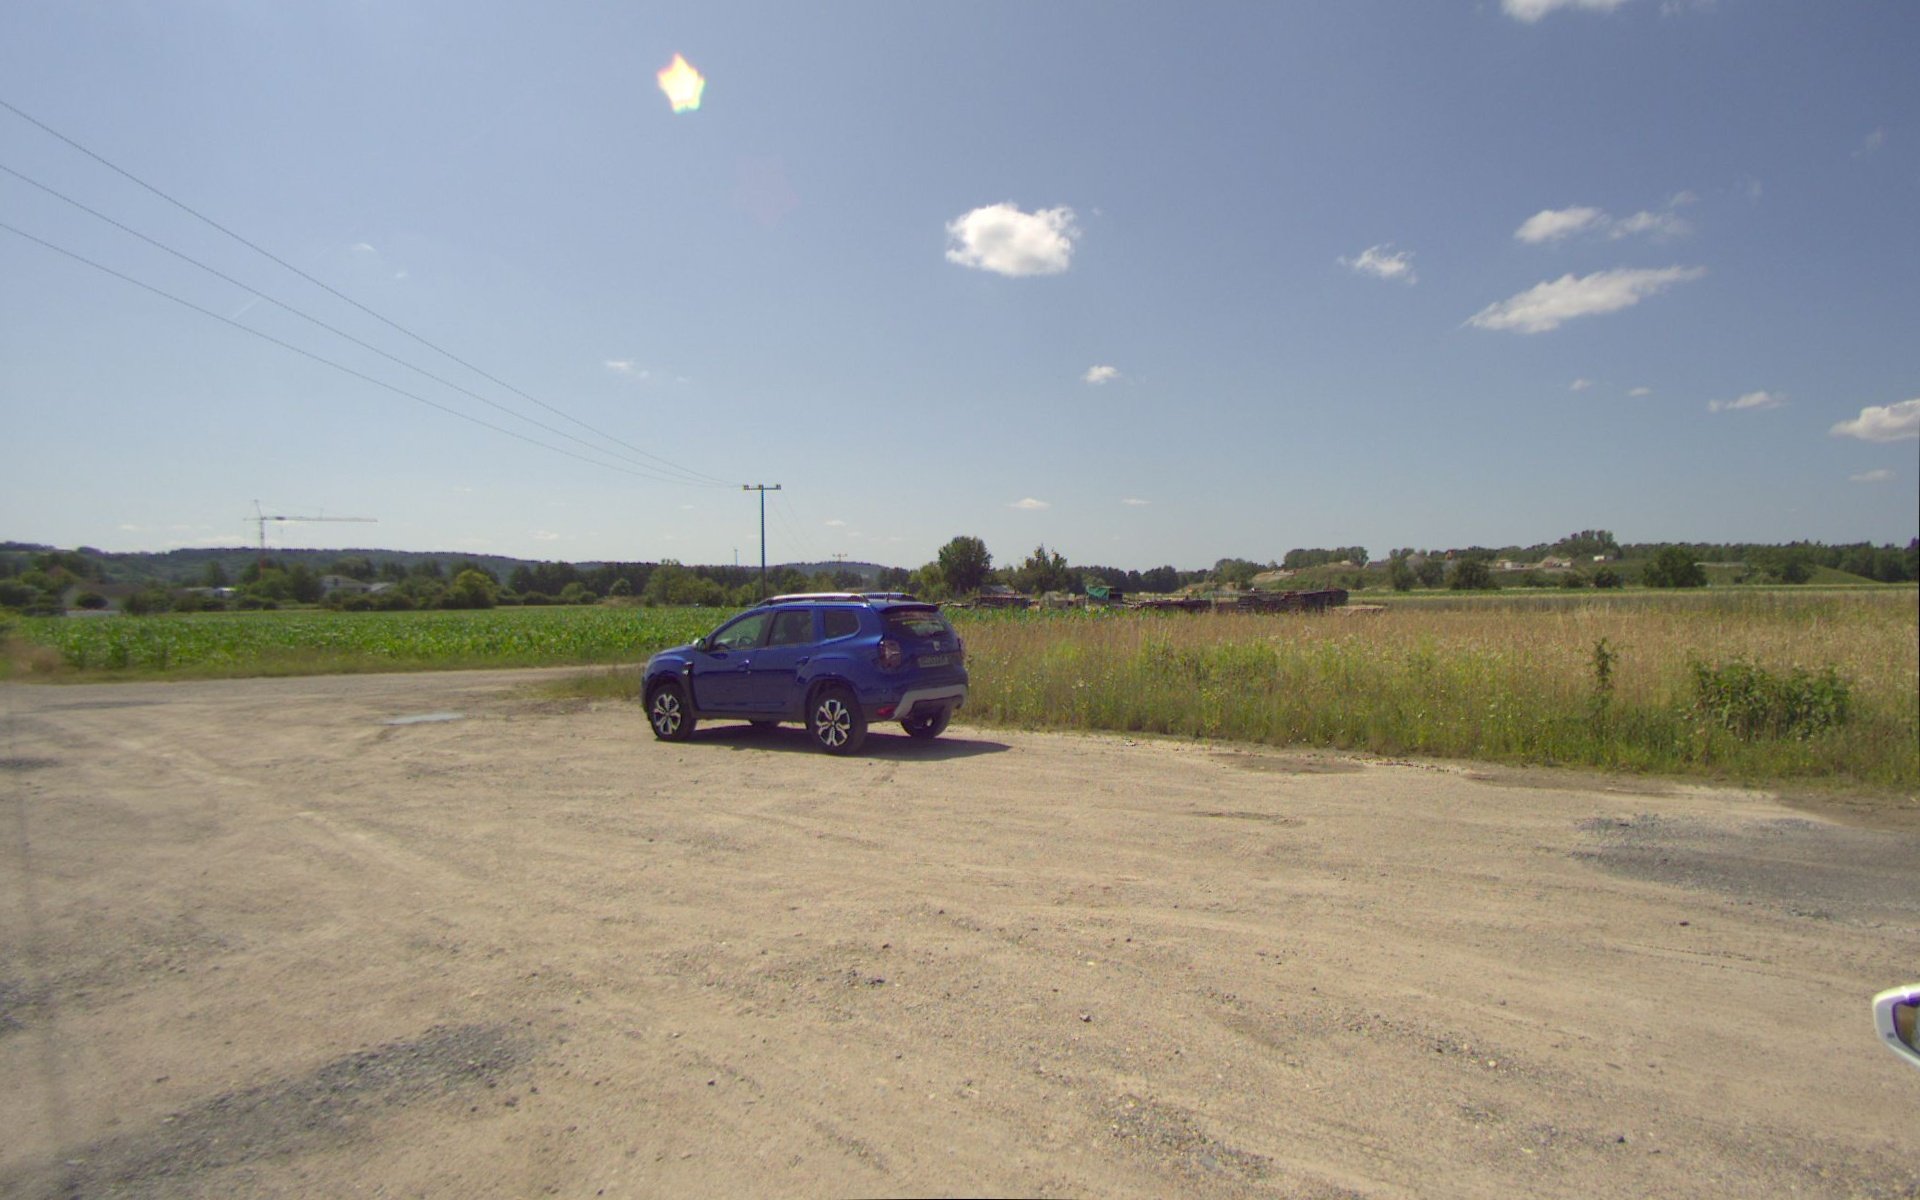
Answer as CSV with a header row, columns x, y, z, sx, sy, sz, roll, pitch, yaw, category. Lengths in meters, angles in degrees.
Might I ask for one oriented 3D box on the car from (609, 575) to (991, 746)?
x,y,z,sx,sy,sz,roll,pitch,yaw,category
-1.980,0.634,11.900,4.384,1.683,1.859,-1,-1,34,car
